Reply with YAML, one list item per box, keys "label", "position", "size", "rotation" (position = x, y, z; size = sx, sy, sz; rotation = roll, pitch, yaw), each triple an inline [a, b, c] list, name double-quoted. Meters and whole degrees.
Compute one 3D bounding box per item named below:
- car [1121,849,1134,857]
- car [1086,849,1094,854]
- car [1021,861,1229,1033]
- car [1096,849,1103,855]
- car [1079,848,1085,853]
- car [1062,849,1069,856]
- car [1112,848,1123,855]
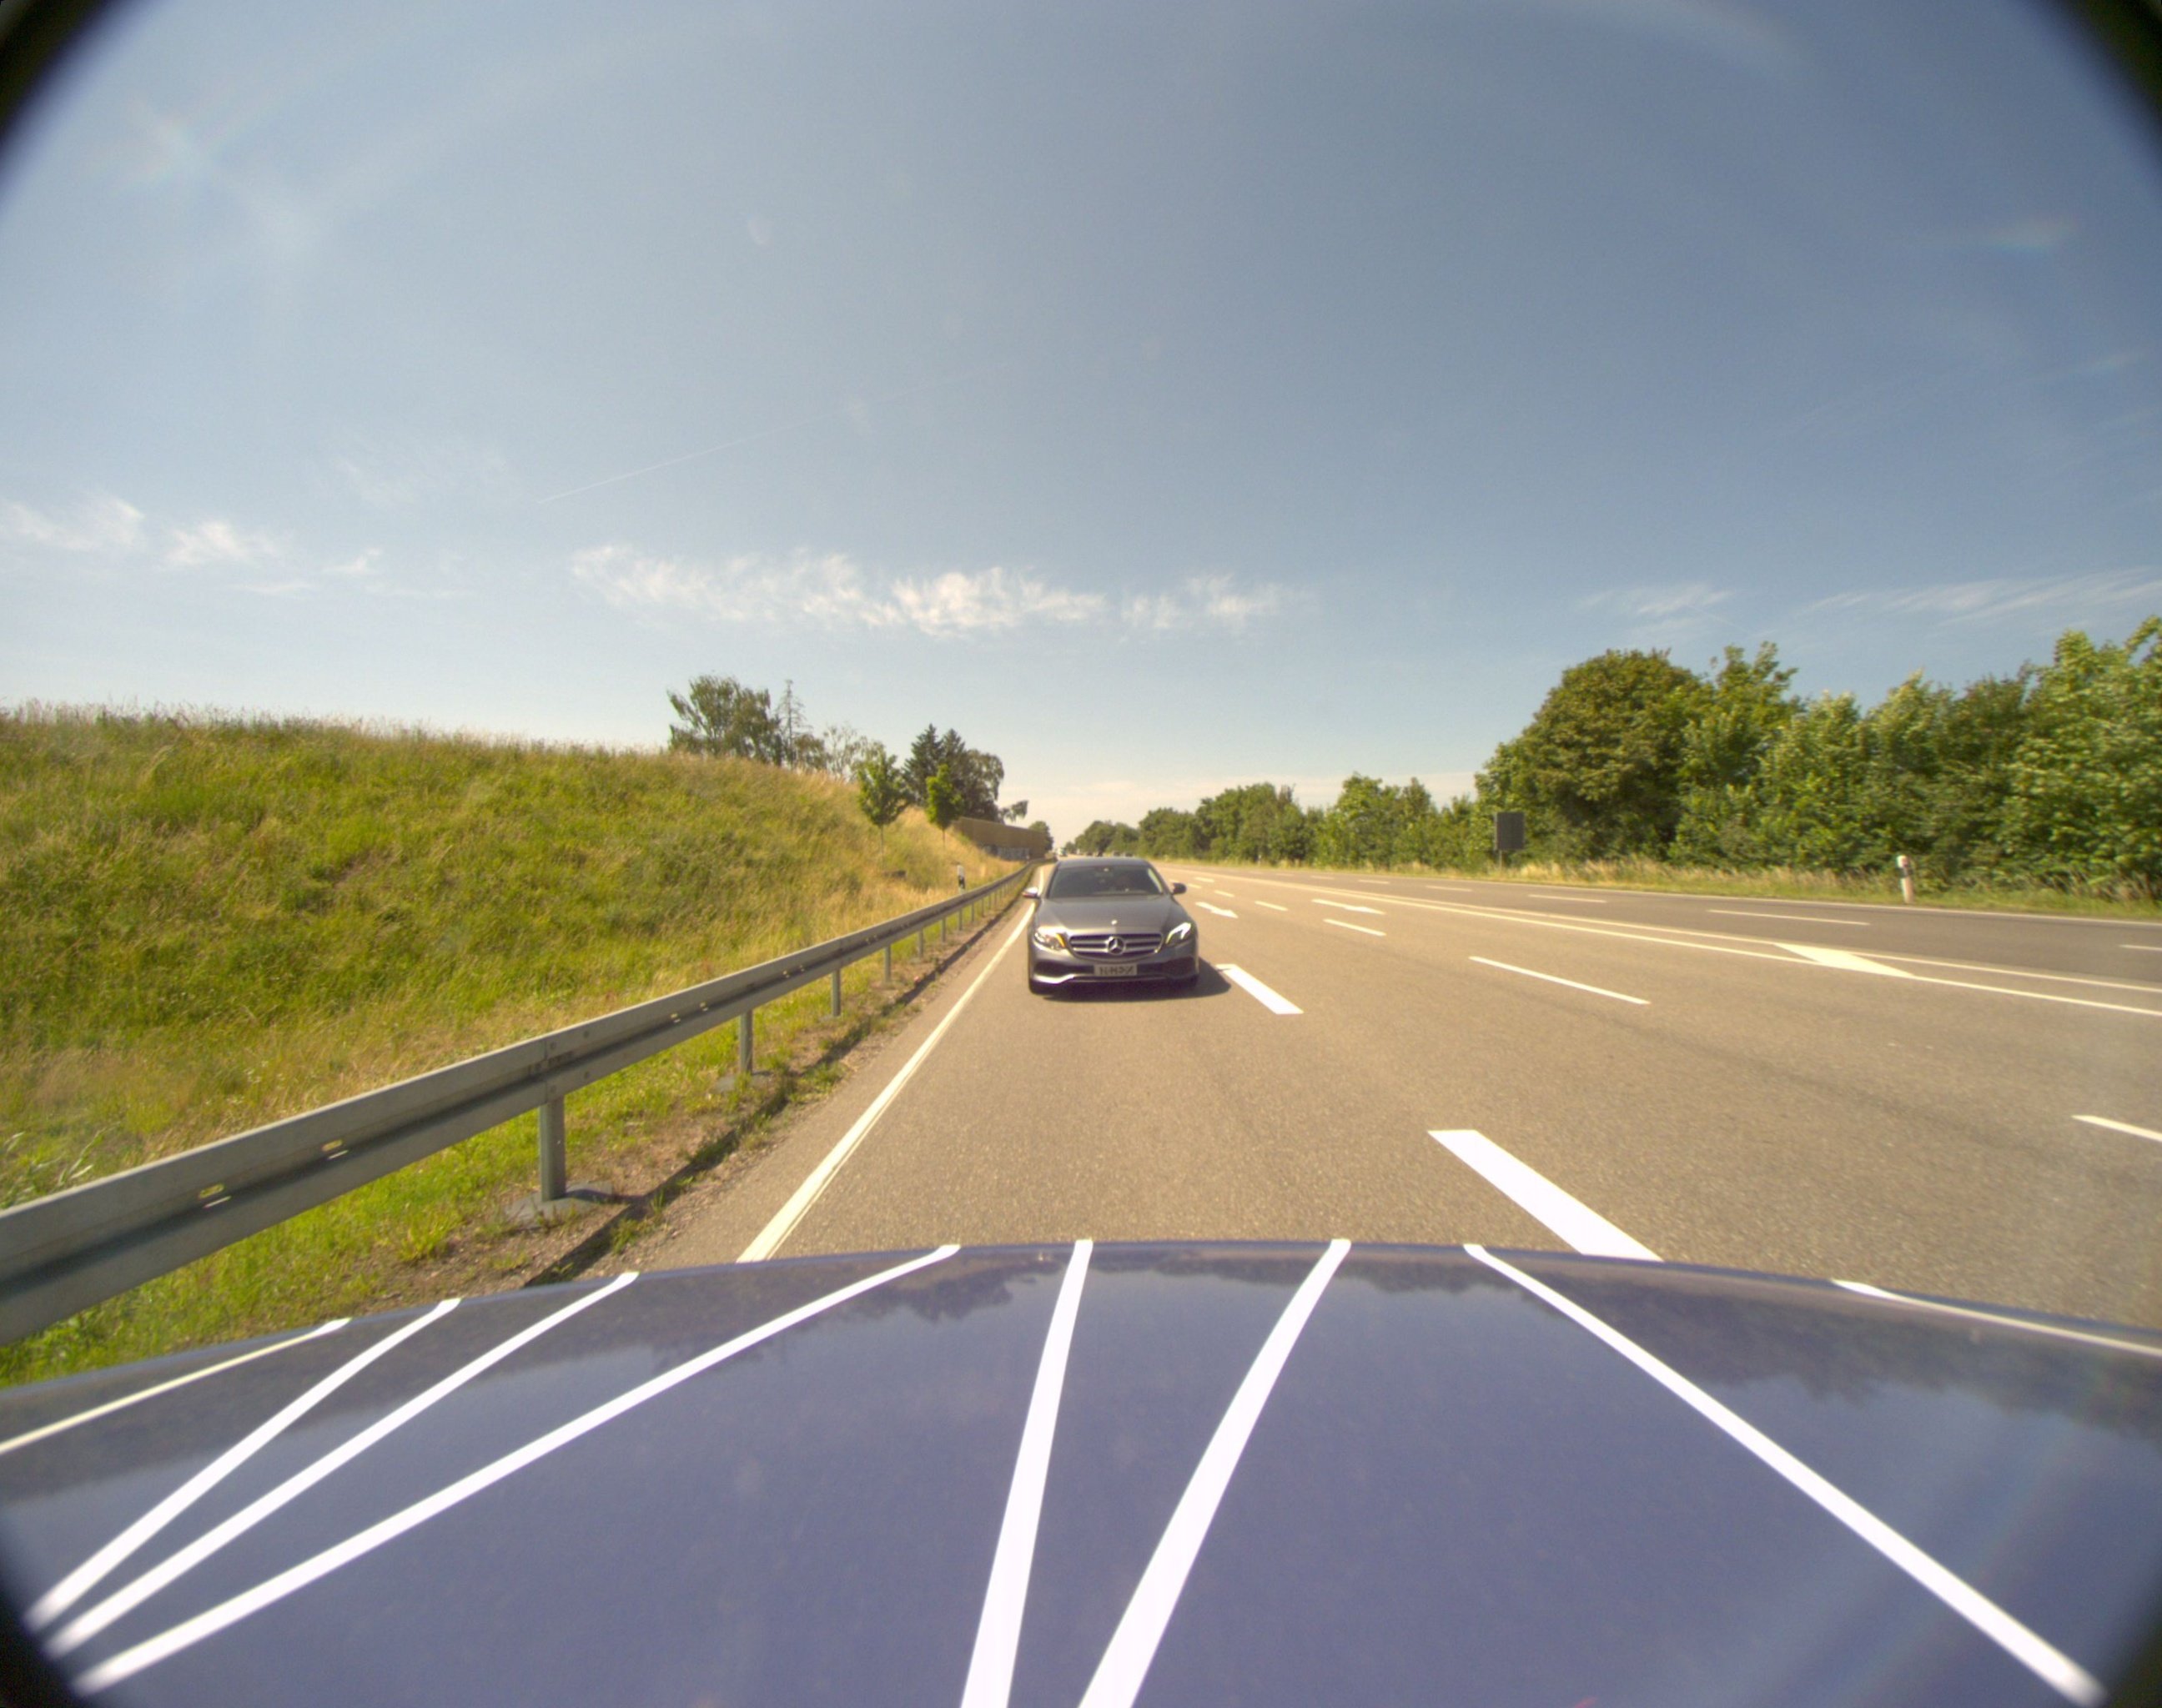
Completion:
- label: "car"
  position: [8.853, -0.211, 144.535]
  size: [1.883, 1.390, 4.529]
  rotation: [-2, 1, -3]
- label: "car"
  position: [2.709, -0.731, 230.889]
  size: [1.810, 1.272, 4.763]
  rotation: [-1, 1, -4]
- label: "car"
  position: [0.289, 0.873, 9.267]
  size: [1.894, 1.439, 4.524]
  rotation: [-2, 1, -3]
- label: "car"
  position: [4.703, -0.569, 194.515]
  size: [1.649, 1.479, 3.557]
  rotation: [-2, 1, -3]
- label: "car"
  position: [0.229, -1.166, 260.242]
  size: [1.910, 1.906, 5.050]
  rotation: [0, 0, -1]
- label: "car"
  position: [-4.026, -0.390, 201.079]
  size: [1.801, 1.674, 3.998]
  rotation: [-2, 2, -1]
- label: "car"
  position: [8.303, -0.596, 173.149]
  size: [2.033, 1.630, 4.566]
  rotation: [-1, 1, -4]
